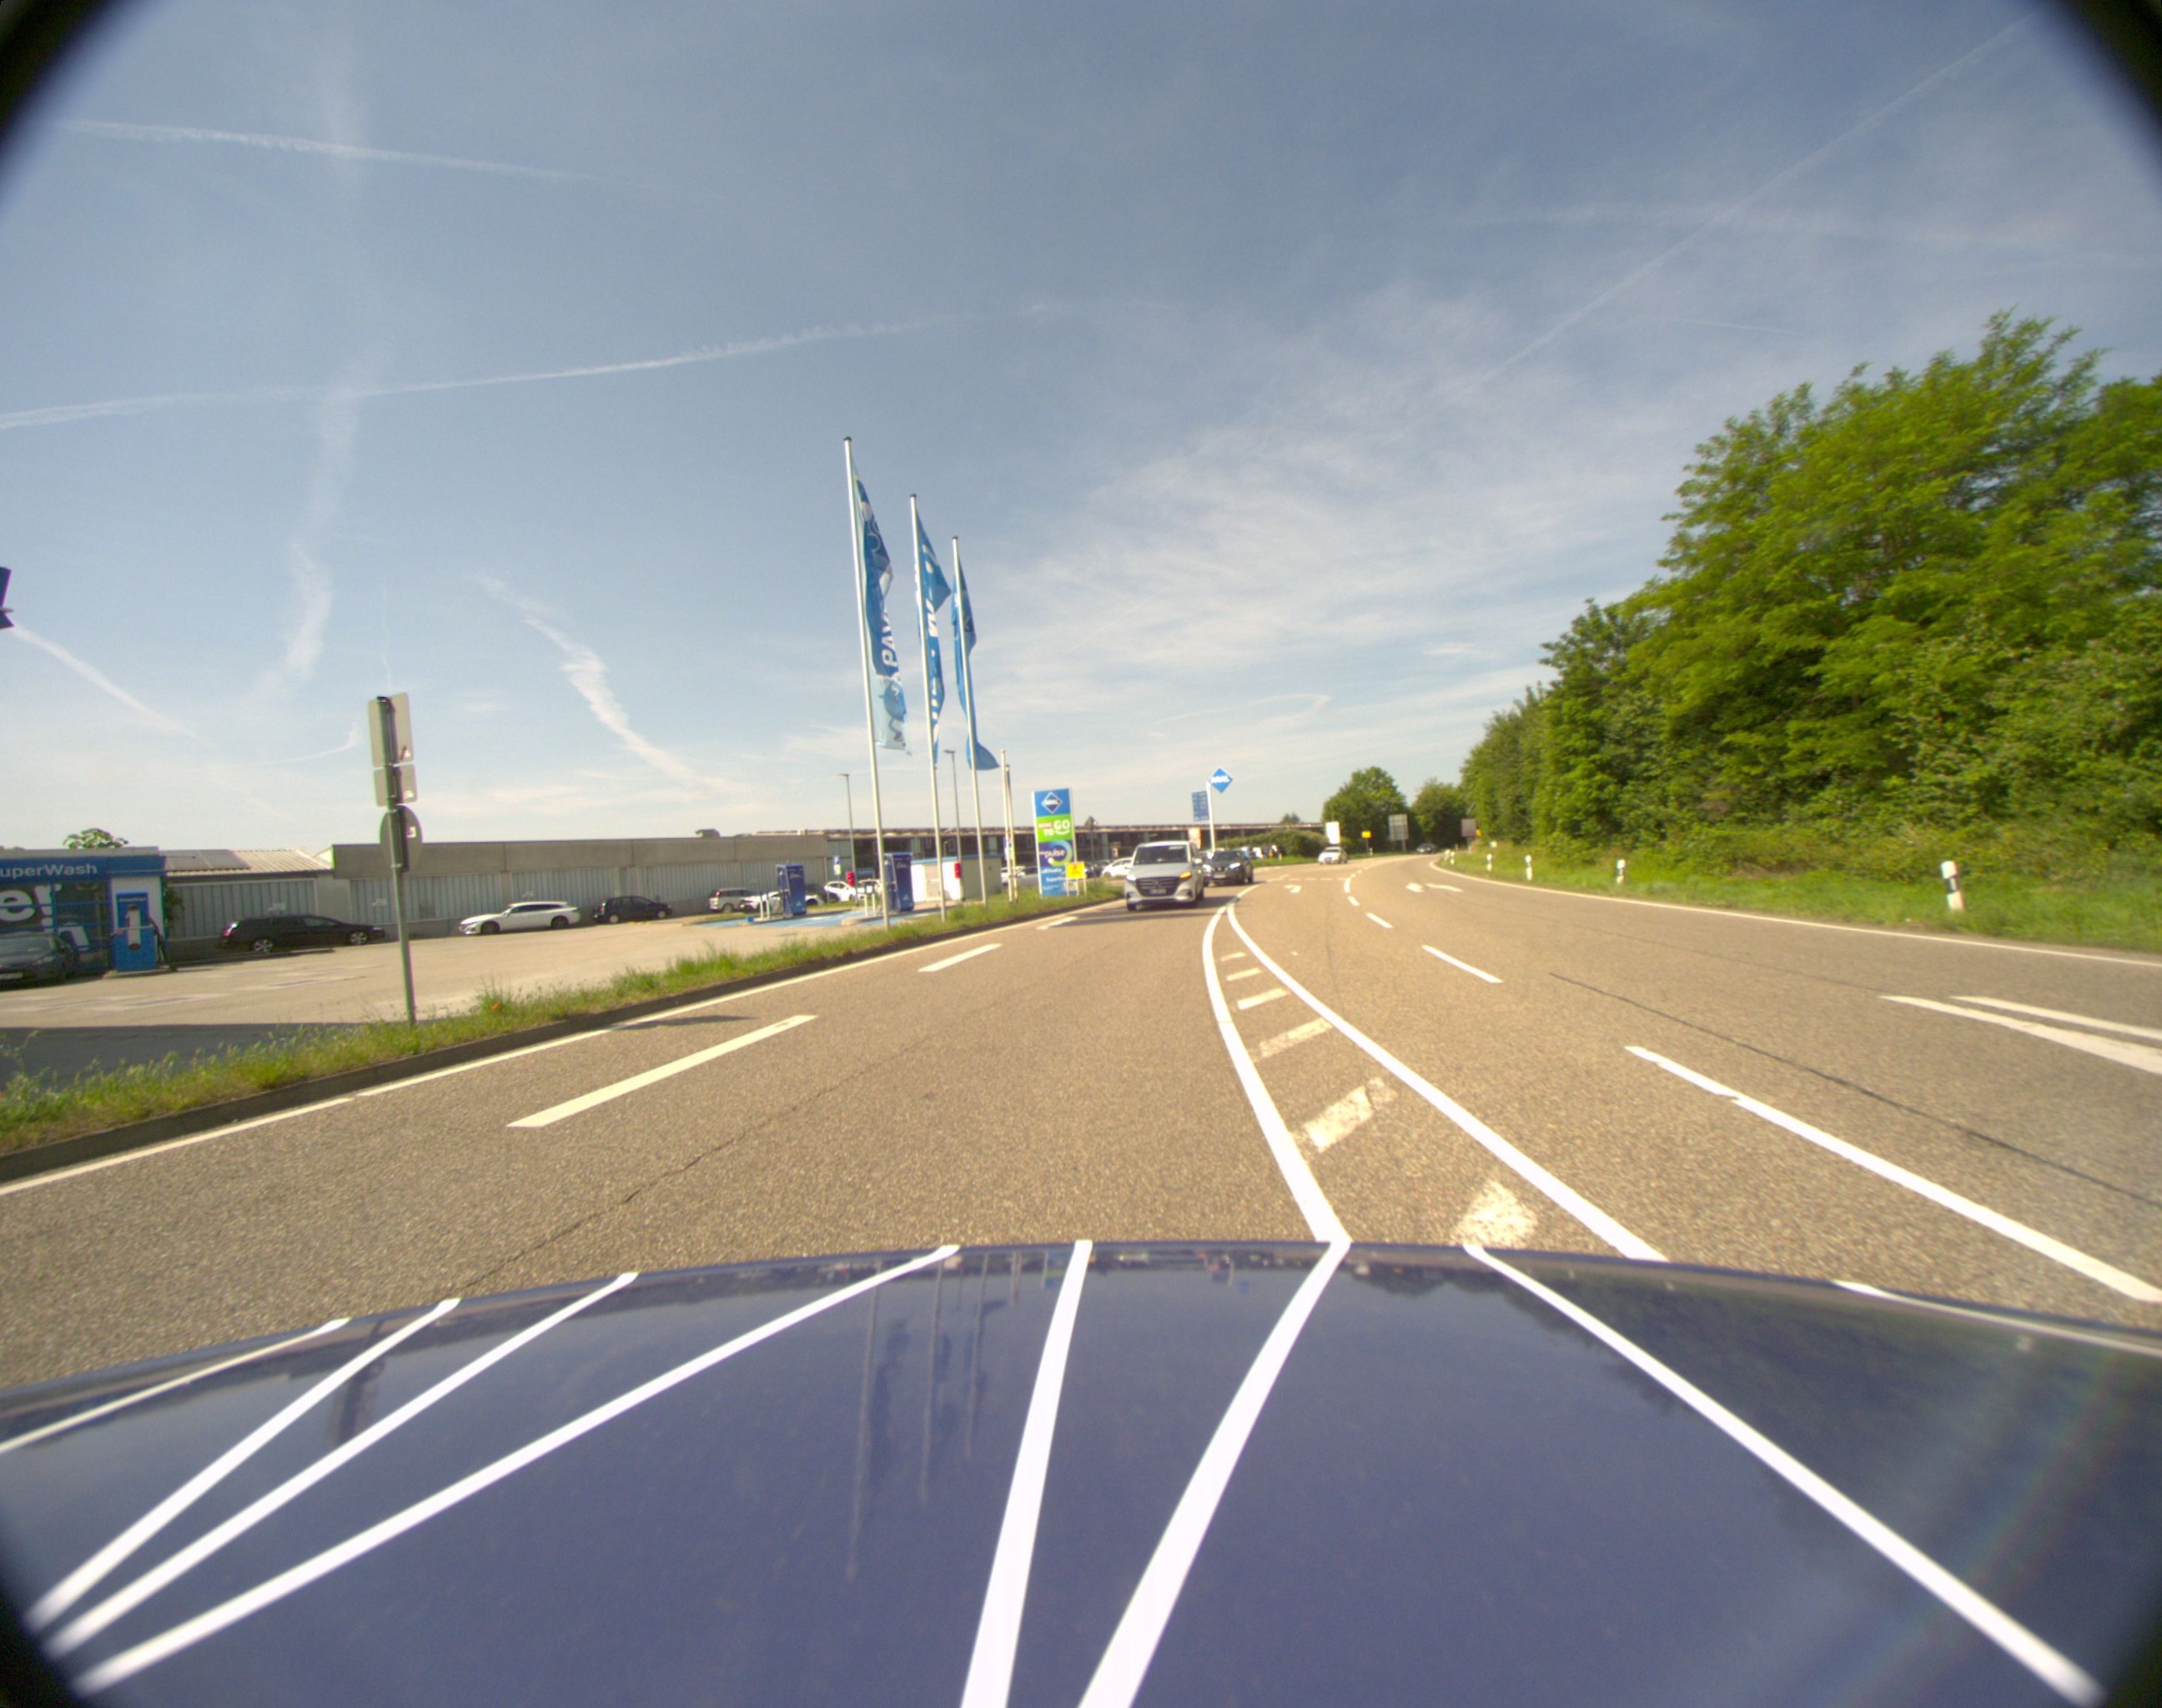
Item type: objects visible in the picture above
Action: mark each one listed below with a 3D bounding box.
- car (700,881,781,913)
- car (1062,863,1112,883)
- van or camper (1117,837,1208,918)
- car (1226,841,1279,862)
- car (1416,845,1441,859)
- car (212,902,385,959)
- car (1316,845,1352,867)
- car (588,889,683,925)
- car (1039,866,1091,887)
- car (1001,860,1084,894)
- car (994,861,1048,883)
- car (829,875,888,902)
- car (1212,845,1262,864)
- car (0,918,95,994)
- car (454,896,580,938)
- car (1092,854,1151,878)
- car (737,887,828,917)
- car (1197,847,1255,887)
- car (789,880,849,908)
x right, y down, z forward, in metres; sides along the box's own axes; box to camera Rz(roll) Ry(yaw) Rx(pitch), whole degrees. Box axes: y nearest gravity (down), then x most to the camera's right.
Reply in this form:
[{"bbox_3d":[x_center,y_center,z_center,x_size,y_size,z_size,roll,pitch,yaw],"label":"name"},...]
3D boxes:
[{"bbox_3d":[-20.685,2.601,46.250,1.885,1.595,4.029,-4,0,44],"label":"car"},{"bbox_3d":[0.527,1.741,69.344,4.454,1.628,1.826,-4,-2,41],"label":"car"},{"bbox_3d":[2.547,0.597,22.358,1.997,2.002,5.295,-4,0,12],"label":"van or camper"},{"bbox_3d":[15.541,-0.212,68.907,4.247,1.628,1.826,-4,-2,35],"label":"car"},{"bbox_3d":[47.437,-0.292,103.614,1.864,1.631,4.430,-4,0,41],"label":"car"},{"bbox_3d":[-32.261,3.094,31.479,1.885,1.815,4.664,-4,0,35],"label":"car"},{"bbox_3d":[21.558,0.149,64.618,1.864,1.631,4.429,-4,0,31],"label":"car"},{"bbox_3d":[-24.392,2.855,41.709,1.885,1.595,4.029,-4,0,40],"label":"car"},{"bbox_3d":[-1.425,1.997,66.886,4.454,1.628,1.826,-4,-2,41],"label":"car"},{"bbox_3d":[-2.610,1.511,50.641,5.242,1.819,1.999,-4,0,-9],"label":"car"},{"bbox_3d":[-5.034,1.482,63.133,4.454,1.628,1.826,-4,-2,41],"label":"car"},{"bbox_3d":[-14.660,2.304,50.016,4.011,1.595,1.894,-4,0,43],"label":"car"},{"bbox_3d":[14.853,0.053,72.543,4.247,1.628,1.826,-4,-2,35],"label":"car"},{"bbox_3d":[-29.108,2.772,21.017,4.161,1.815,1.894,-4,0,41],"label":"car"},{"bbox_3d":[-27.601,3.029,37.326,1.885,1.595,4.539,-4,0,37],"label":"car"},{"bbox_3d":[3.184,0.961,59.634,4.247,1.628,1.826,-4,-2,35],"label":"car"},{"bbox_3d":[-16.003,2.537,40.864,4.133,1.245,1.694,-3,0,-44],"label":"car"},{"bbox_3d":[6.410,0.549,33.243,1.818,1.532,3.732,-4,0,20],"label":"car"},{"bbox_3d":[-16.669,2.532,48.274,4.011,1.595,1.894,-4,0,43],"label":"car"}]
